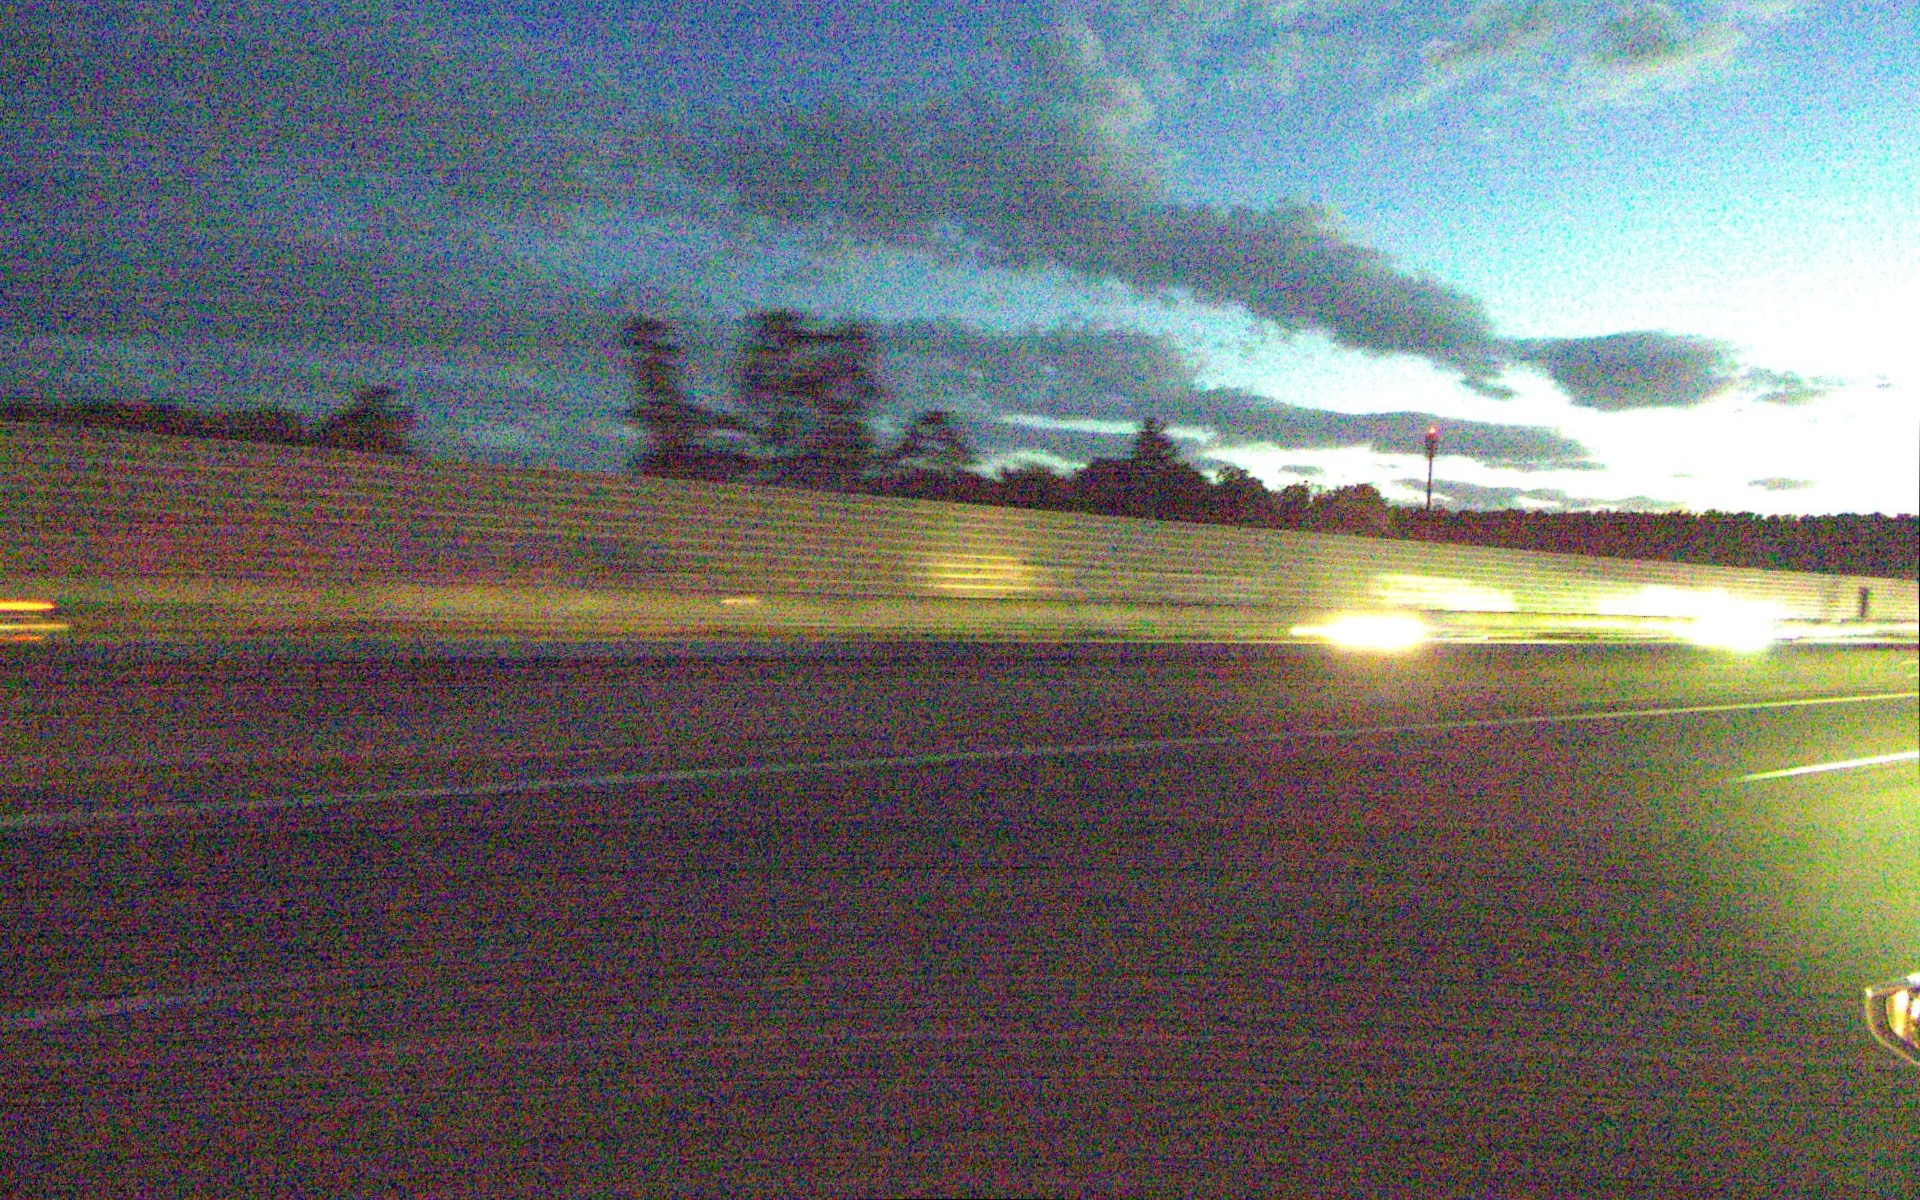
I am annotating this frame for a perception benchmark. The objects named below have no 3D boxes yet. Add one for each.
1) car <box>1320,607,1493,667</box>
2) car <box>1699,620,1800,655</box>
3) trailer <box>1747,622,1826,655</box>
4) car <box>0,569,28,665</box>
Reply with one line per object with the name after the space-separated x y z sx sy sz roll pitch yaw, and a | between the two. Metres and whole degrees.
13.026 1.070 29.232 5.051 1.576 2.107 2 0 -31 | car
38.342 1.813 48.758 5.182 1.501 2.172 1 1 -31 | car
41.882 1.943 50.912 3.093 1.501 2.172 1 1 -31 | trailer
-18.066 0.220 15.469 5.051 1.576 2.108 2 0 -31 | car
